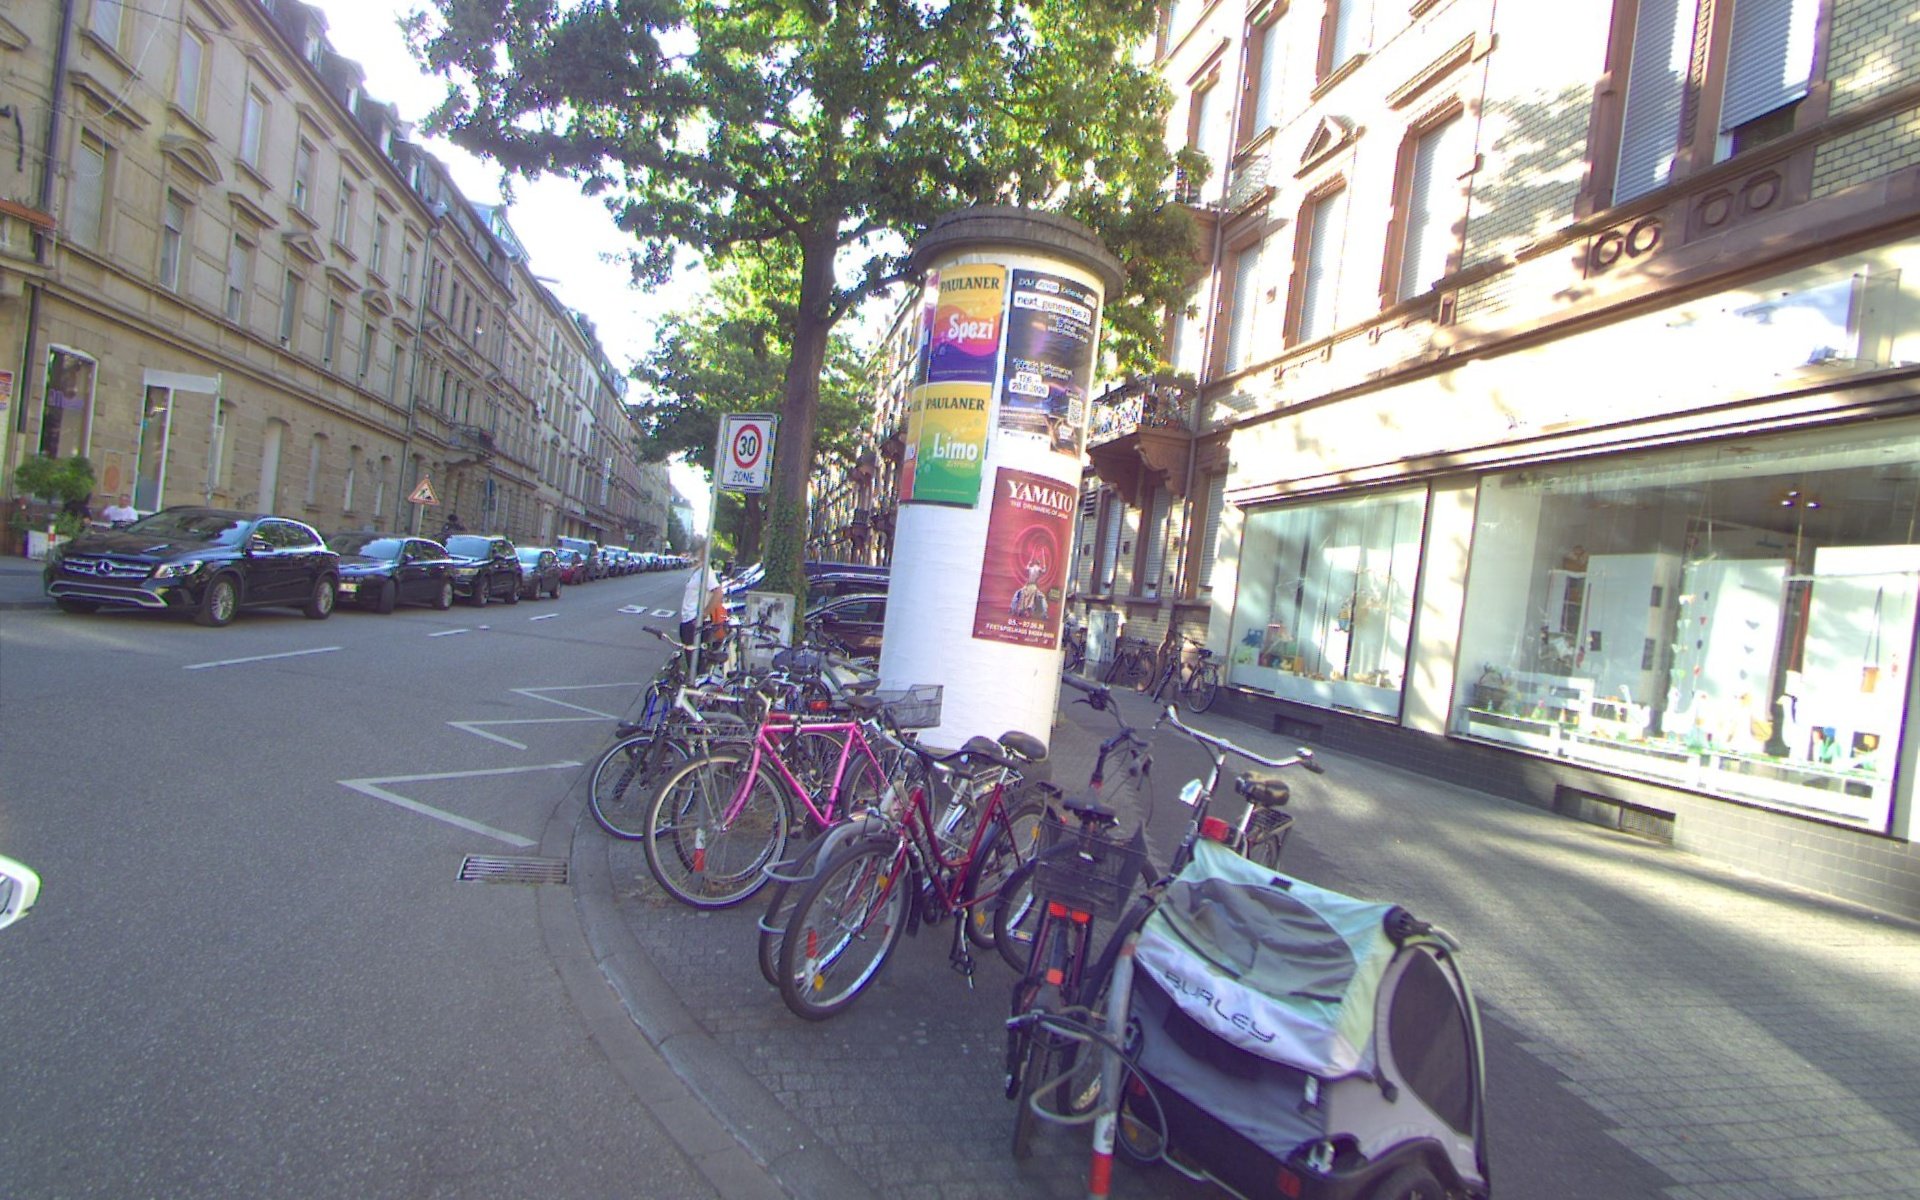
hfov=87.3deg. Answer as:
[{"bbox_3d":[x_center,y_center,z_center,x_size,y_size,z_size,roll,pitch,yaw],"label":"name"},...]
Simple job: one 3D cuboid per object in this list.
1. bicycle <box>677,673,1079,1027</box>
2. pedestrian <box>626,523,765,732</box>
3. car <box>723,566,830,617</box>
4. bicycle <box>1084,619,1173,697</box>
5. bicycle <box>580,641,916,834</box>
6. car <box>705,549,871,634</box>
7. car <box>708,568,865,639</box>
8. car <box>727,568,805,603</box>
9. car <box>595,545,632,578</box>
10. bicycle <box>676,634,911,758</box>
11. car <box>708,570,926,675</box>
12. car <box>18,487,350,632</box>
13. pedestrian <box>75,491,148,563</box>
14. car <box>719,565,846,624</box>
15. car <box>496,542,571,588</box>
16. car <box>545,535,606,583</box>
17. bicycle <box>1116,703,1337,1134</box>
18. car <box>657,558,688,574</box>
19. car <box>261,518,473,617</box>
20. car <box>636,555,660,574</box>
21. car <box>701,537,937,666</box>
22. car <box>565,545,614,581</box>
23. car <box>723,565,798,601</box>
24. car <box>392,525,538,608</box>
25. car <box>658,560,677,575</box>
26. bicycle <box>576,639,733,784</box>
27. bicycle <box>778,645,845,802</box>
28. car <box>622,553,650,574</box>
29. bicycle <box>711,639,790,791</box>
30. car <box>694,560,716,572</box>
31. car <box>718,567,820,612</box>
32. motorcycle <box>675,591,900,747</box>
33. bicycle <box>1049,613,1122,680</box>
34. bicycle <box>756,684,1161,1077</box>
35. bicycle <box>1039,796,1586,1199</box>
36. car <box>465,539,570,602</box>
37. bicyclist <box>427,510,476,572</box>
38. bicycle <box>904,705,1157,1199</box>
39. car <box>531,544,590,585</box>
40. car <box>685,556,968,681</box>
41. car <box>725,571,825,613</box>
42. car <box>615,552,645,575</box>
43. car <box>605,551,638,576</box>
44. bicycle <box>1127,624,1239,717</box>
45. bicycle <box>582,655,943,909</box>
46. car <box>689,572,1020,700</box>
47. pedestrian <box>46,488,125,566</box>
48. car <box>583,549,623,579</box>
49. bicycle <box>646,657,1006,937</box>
[{"bbox_3d":[-0.218,0.888,4.198,0.419,1.107,1.928,5,1,37],"label":"bicycle"},{"bbox_3d":[-2.661,0.274,10.206,1.100,1.922,0.840,7,1,-13],"label":"pedestrian"},{"bbox_3d":[-7.298,-0.335,39.899,3.959,1.649,1.799,5,1,-15],"label":"car"},{"bbox_3d":[3.009,1.004,18.284,0.661,1.186,2.587,5,0,-10],"label":"bicycle"},{"bbox_3d":[-1.236,0.808,6.136,1.917,1.000,0.492,4,1,-36],"label":"bicycle"},{"bbox_3d":[-5.189,-0.241,30.266,4.617,2.059,1.872,5,1,-16],"label":"car"},{"bbox_3d":[-4.774,0.089,27.558,4.001,1.530,1.873,5,1,-14],"label":"car"},{"bbox_3d":[-10.509,-0.785,54.461,3.958,1.486,1.729,5,1,-14],"label":"car"},{"bbox_3d":[-22.711,-2.542,66.073,1.736,1.865,4.514,6,1,-14],"label":"car"},{"bbox_3d":[-1.423,0.832,8.670,1.905,0.939,0.353,4,1,-14],"label":"bicycle"},{"bbox_3d":[-2.895,0.434,20.274,4.053,1.553,1.720,7,0,-13],"label":"car"},{"bbox_3d":[-10.341,-0.495,13.865,1.734,1.506,4.131,6,0,-9],"label":"car"},{"bbox_3d":[-16.102,-1.368,19.116,0.716,1.229,0.754,7,1,-15],"label":"pedestrian"},{"bbox_3d":[-6.177,-0.204,35.194,4.128,1.649,1.833,5,1,-10],"label":"car"},{"bbox_3d":[-16.631,-1.360,39.404,1.735,1.520,4.050,6,1,-11],"label":"car"},{"bbox_3d":[-18.754,-1.996,49.269,1.809,1.966,5.244,9,0,-13],"label":"car"},{"bbox_3d":[1.023,1.017,3.736,0.563,1.108,1.477,5,0,18],"label":"bicycle"},{"bbox_3d":[-38.292,-4.519,134.111,1.963,1.504,4.002,6,-1,19],"label":"car"},{"bbox_3d":[-11.075,-0.574,19.214,1.733,1.470,4.543,6,0,-8],"label":"car"},{"bbox_3d":[-28.656,-3.237,92.370,1.736,1.491,4.046,6,1,-14],"label":"car"},{"bbox_3d":[-3.270,0.053,23.088,4.959,2.242,1.986,7,0,-14],"label":"car"},{"bbox_3d":[-20.209,-1.998,55.006,1.732,1.628,4.371,9,0,-13],"label":"car"},{"bbox_3d":[-11.275,-0.953,56.799,3.958,1.628,1.729,5,1,-14],"label":"car"},{"bbox_3d":[-11.762,-0.786,24.230,1.734,1.620,4.541,6,1,-9],"label":"car"},{"bbox_3d":[-36.037,-3.956,124.073,1.968,1.504,3.990,7,-1,-14],"label":"car"},{"bbox_3d":[-2.248,0.787,7.561,0.348,0.939,1.413,5,0,17],"label":"bicycle"},{"bbox_3d":[-1.117,0.851,7.402,0.348,0.939,1.522,4,0,-11],"label":"bicycle"},{"bbox_3d":[-26.284,-2.980,81.643,1.736,1.491,4.046,6,1,-14],"label":"car"},{"bbox_3d":[-1.540,0.803,7.530,0.348,0.939,1.523,4,0,-5],"label":"bicycle"},{"bbox_3d":[-51.147,-6.814,201.899,3.930,1.882,1.749,8,1,-5],"label":"car"},{"bbox_3d":[-8.468,-0.474,44.565,4.287,1.578,1.843,4,3,-14],"label":"car"},{"bbox_3d":[-1.577,0.624,9.226,1.872,1.250,0.684,5,1,-13],"label":"motorcycle"},{"bbox_3d":[2.547,0.921,20.796,0.661,1.186,2.587,5,0,-10],"label":"bicycle"},{"bbox_3d":[0.121,0.921,3.914,0.419,1.107,1.928,5,1,37],"label":"bicycle"},{"bbox_3d":[0.861,1.084,2.480,0.990,1.039,0.731,7,1,-35],"label":"bicycle"},{"bbox_3d":[-12.763,-0.842,29.284,1.734,1.520,4.051,6,1,-10],"label":"car"},{"bbox_3d":[-16.266,-1.874,32.214,0.983,1.813,1.204,7,2,-12],"label":"bicyclist"},{"bbox_3d":[0.307,0.967,3.231,0.417,1.108,1.477,5,0,17],"label":"bicycle"},{"bbox_3d":[-17.370,-1.542,43.905,1.572,1.493,3.690,9,0,-11],"label":"car"},{"bbox_3d":[-2.373,0.328,17.927,4.624,1.700,1.847,6,1,-12],"label":"car"},{"bbox_3d":[-7.796,-0.336,42.298,3.957,1.453,1.789,4,1,-14],"label":"car"},{"bbox_3d":[-25.195,-2.775,76.915,1.736,1.491,4.046,6,1,-14],"label":"car"},{"bbox_3d":[-23.865,-2.568,70.982,1.736,1.491,4.046,6,1,-14],"label":"car"},{"bbox_3d":[3.410,1.049,15.694,0.661,1.186,2.587,5,0,-10],"label":"bicycle"},{"bbox_3d":[-0.935,0.851,5.281,0.496,1.065,1.926,5,1,40],"label":"bicycle"},{"bbox_3d":[-1.633,0.539,15.560,4.720,1.431,1.847,6,0,-11],"label":"car"},{"bbox_3d":[-15.667,-1.283,18.040,0.716,1.275,0.754,7,1,-15],"label":"pedestrian"},{"bbox_3d":[-21.613,-2.189,61.026,1.738,1.485,3.987,9,0,-15],"label":"car"},{"bbox_3d":[-0.558,0.861,4.979,0.419,1.107,1.926,5,1,40],"label":"bicycle"}]
